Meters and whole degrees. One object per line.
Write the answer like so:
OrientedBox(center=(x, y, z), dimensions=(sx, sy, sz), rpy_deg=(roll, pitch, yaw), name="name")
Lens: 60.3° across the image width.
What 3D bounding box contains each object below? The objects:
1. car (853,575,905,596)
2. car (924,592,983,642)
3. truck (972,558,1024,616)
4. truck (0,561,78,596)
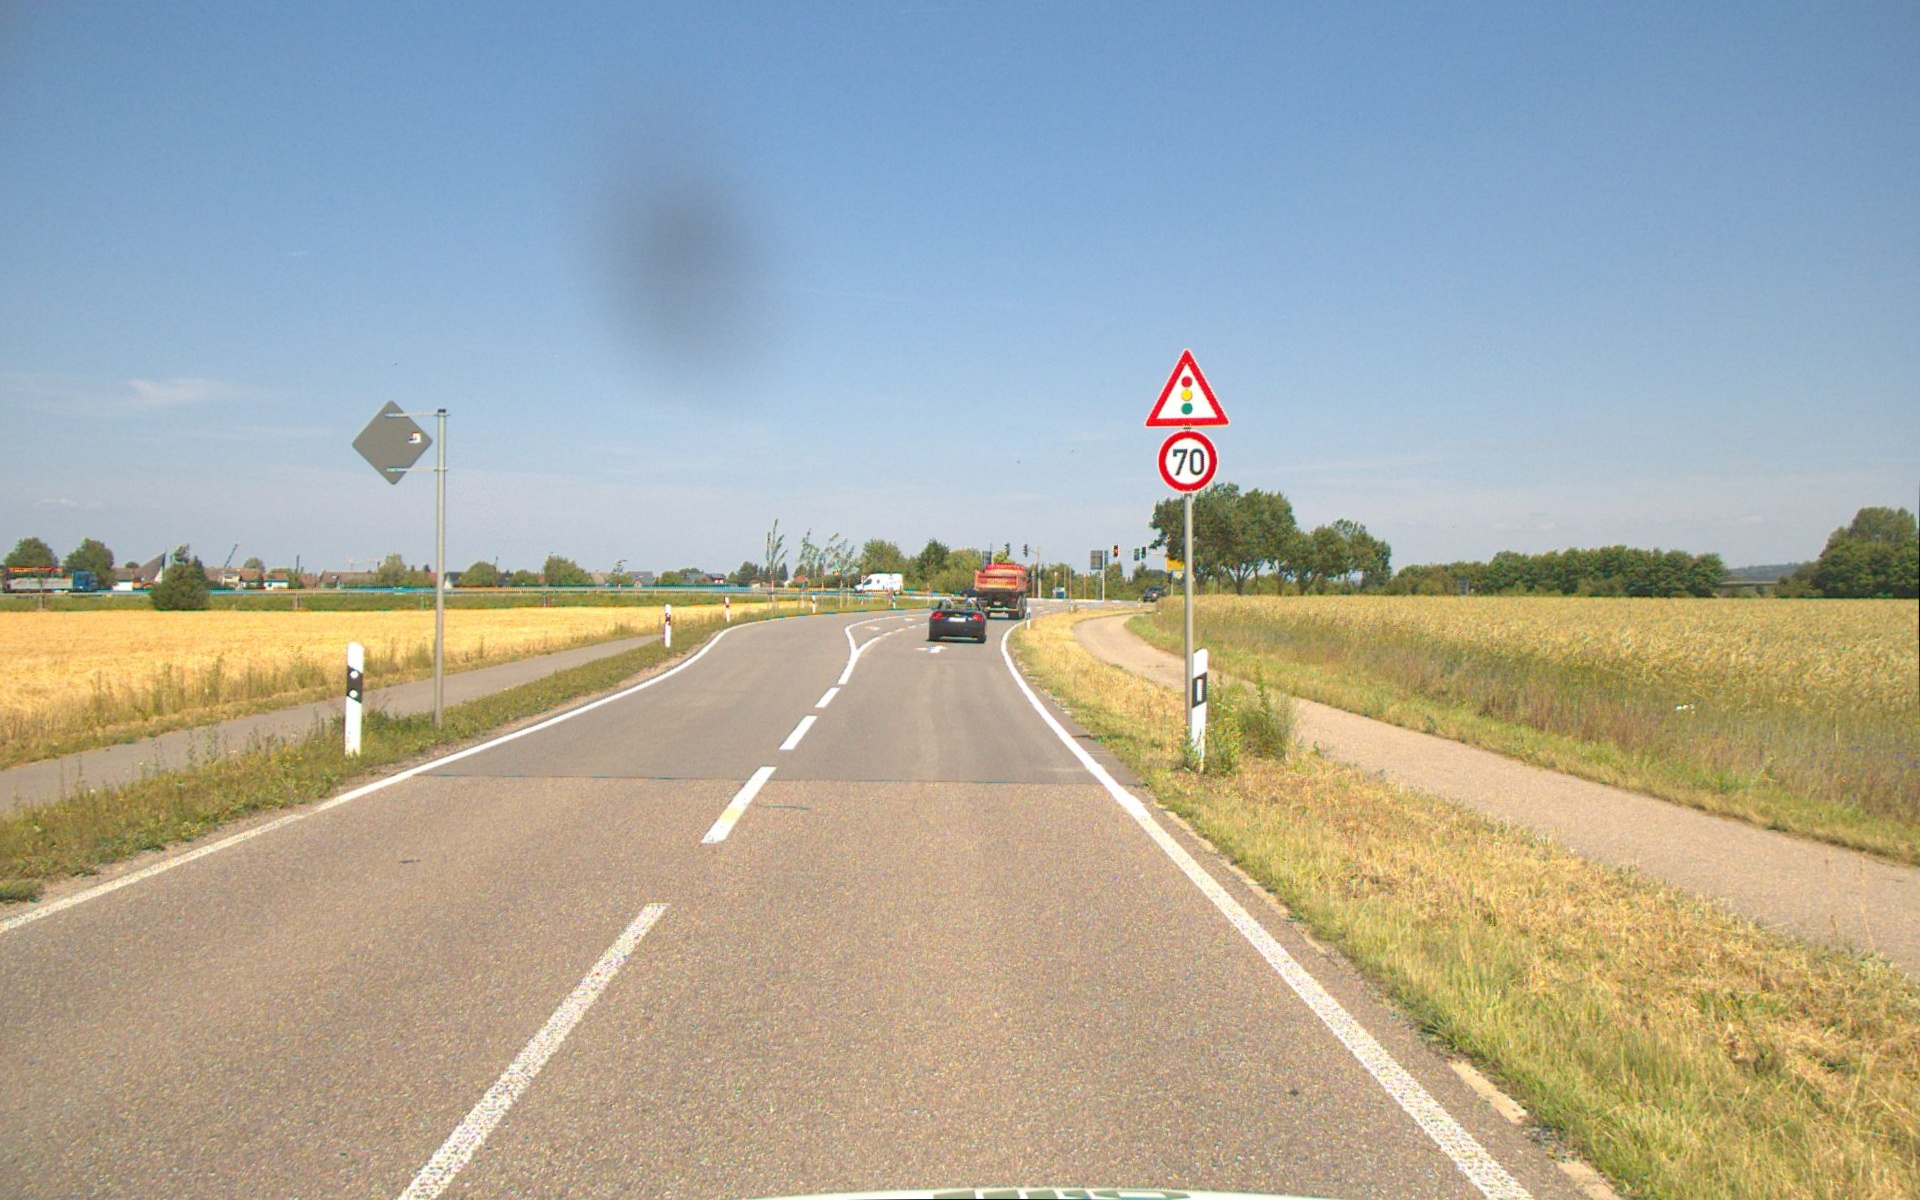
OrientedBox(center=(-9.585, -1.732, 195.795), dimensions=(5.792, 2.464, 2.249), rpy_deg=(1, 1, 5), name="car")
OrientedBox(center=(-0.231, 0.521, 51.005), dimensions=(1.712, 1.399, 3.678), rpy_deg=(2, -1, -2), name="car")
OrientedBox(center=(2.219, -0.681, 94.070), dimensions=(2.657, 3.106, 8.167), rpy_deg=(1, -1, 3), name="truck")
OrientedBox(center=(-106.521, -2.482, 188.707), dimensions=(9.897, 3.859, 2.620), rpy_deg=(1, 1, -11), name="truck")
